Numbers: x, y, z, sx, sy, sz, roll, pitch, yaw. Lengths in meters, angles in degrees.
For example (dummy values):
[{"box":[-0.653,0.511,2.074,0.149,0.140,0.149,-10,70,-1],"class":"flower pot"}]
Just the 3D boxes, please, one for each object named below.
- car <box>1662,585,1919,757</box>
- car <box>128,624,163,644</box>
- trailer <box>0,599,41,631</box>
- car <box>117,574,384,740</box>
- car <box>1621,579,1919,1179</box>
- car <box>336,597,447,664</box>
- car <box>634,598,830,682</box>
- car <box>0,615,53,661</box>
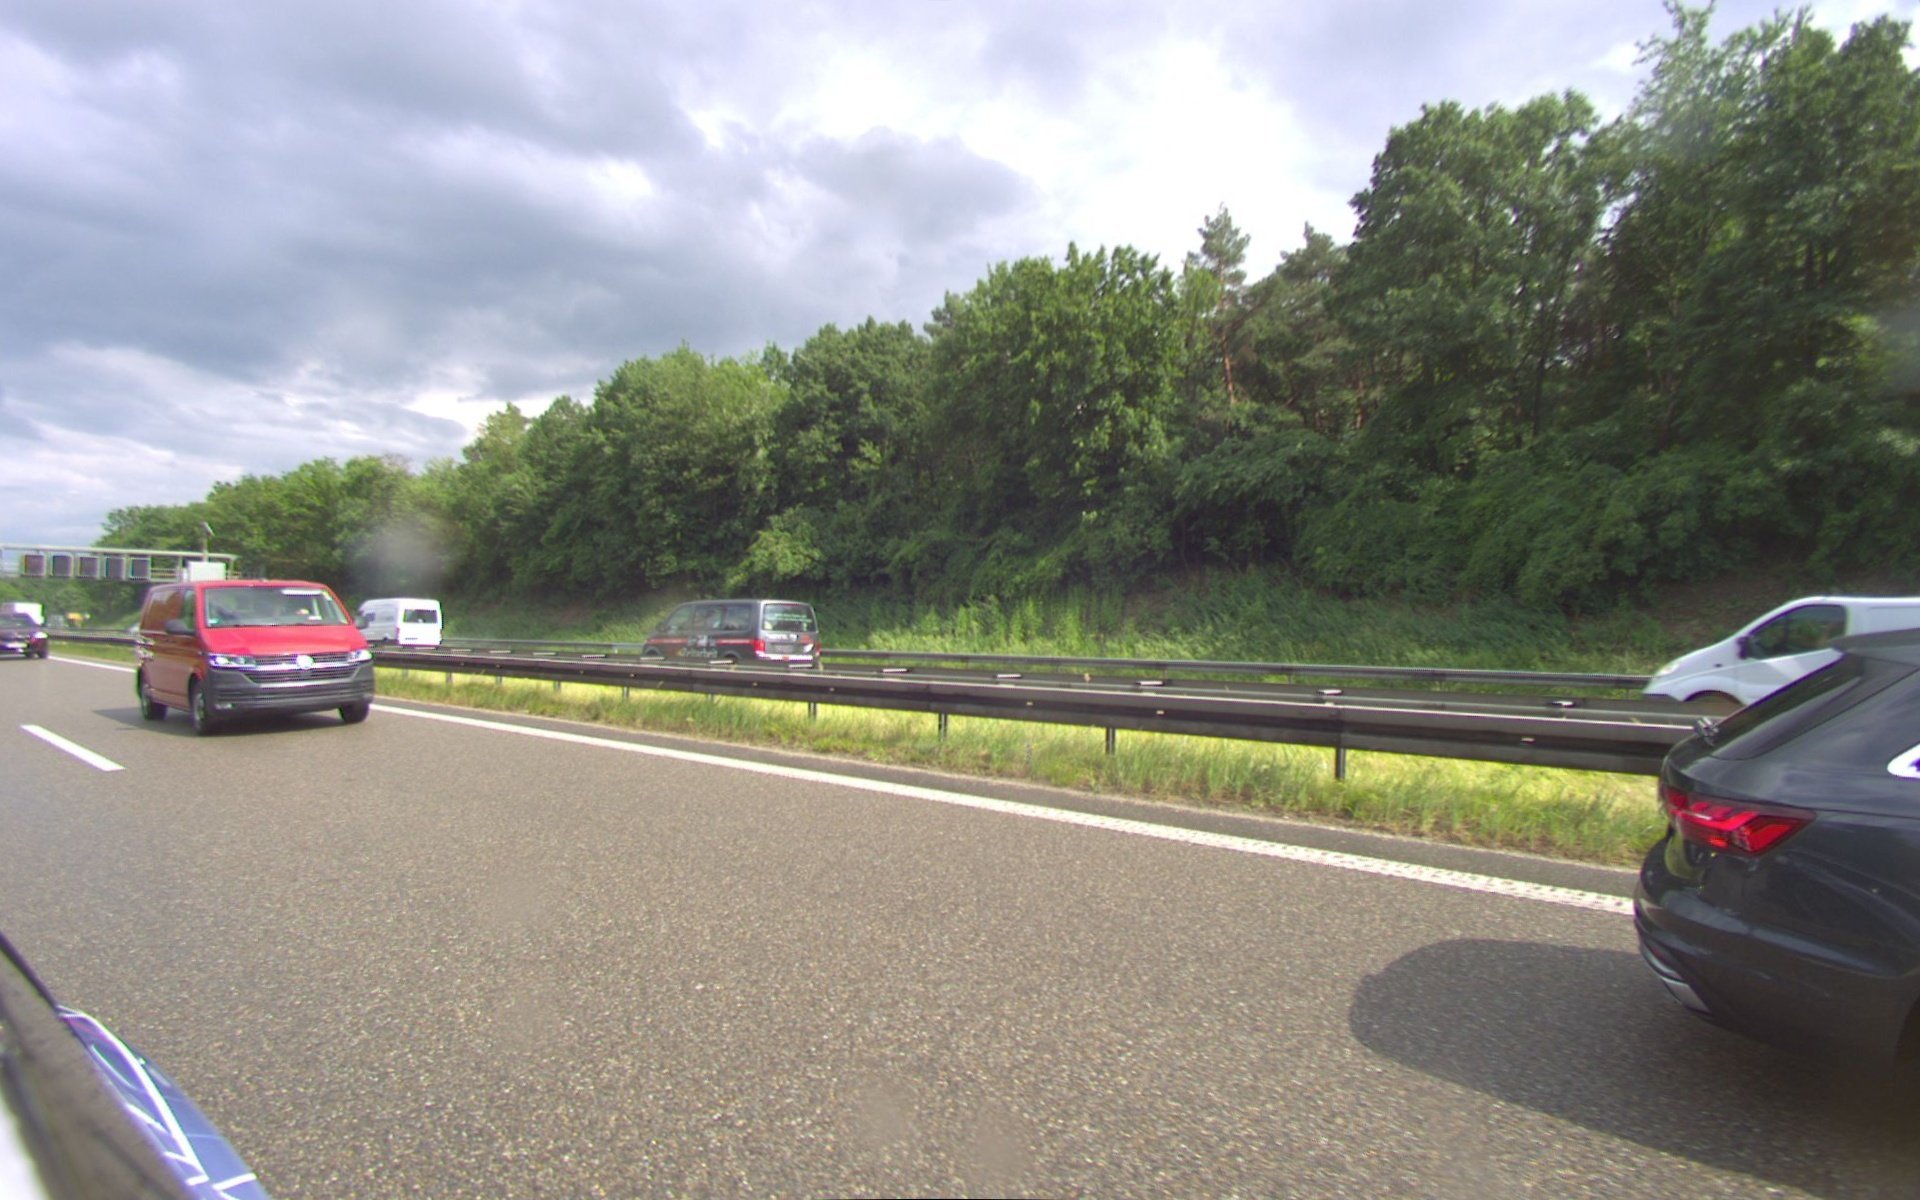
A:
[{"box":[11.607,0.796,12.186,5.038,1.961,1.849,-1,0,40],"class":"car"},{"box":[-75.090,3.118,93.264,4.233,1.675,1.714,-1,0,40],"class":"car"},{"box":[-133.787,2.094,143.818,14.082,4.406,2.834,-1,0,40],"class":"trailer"},{"box":[-9.801,0.663,13.809,4.837,1.880,1.902,-1,0,41],"class":"car"},{"box":[4.230,0.637,1.875,4.837,1.429,1.775,-1,0,41],"class":"car"},{"box":[-26.704,1.367,47.391,6.926,2.892,2.240,-1,0,40],"class":"car"},{"box":[-5.143,0.819,22.484,4.659,1.675,1.827,-1,0,40],"class":"car"},{"box":[-33.880,1.307,35.912,4.837,1.508,1.983,-1,0,41],"class":"car"}]
